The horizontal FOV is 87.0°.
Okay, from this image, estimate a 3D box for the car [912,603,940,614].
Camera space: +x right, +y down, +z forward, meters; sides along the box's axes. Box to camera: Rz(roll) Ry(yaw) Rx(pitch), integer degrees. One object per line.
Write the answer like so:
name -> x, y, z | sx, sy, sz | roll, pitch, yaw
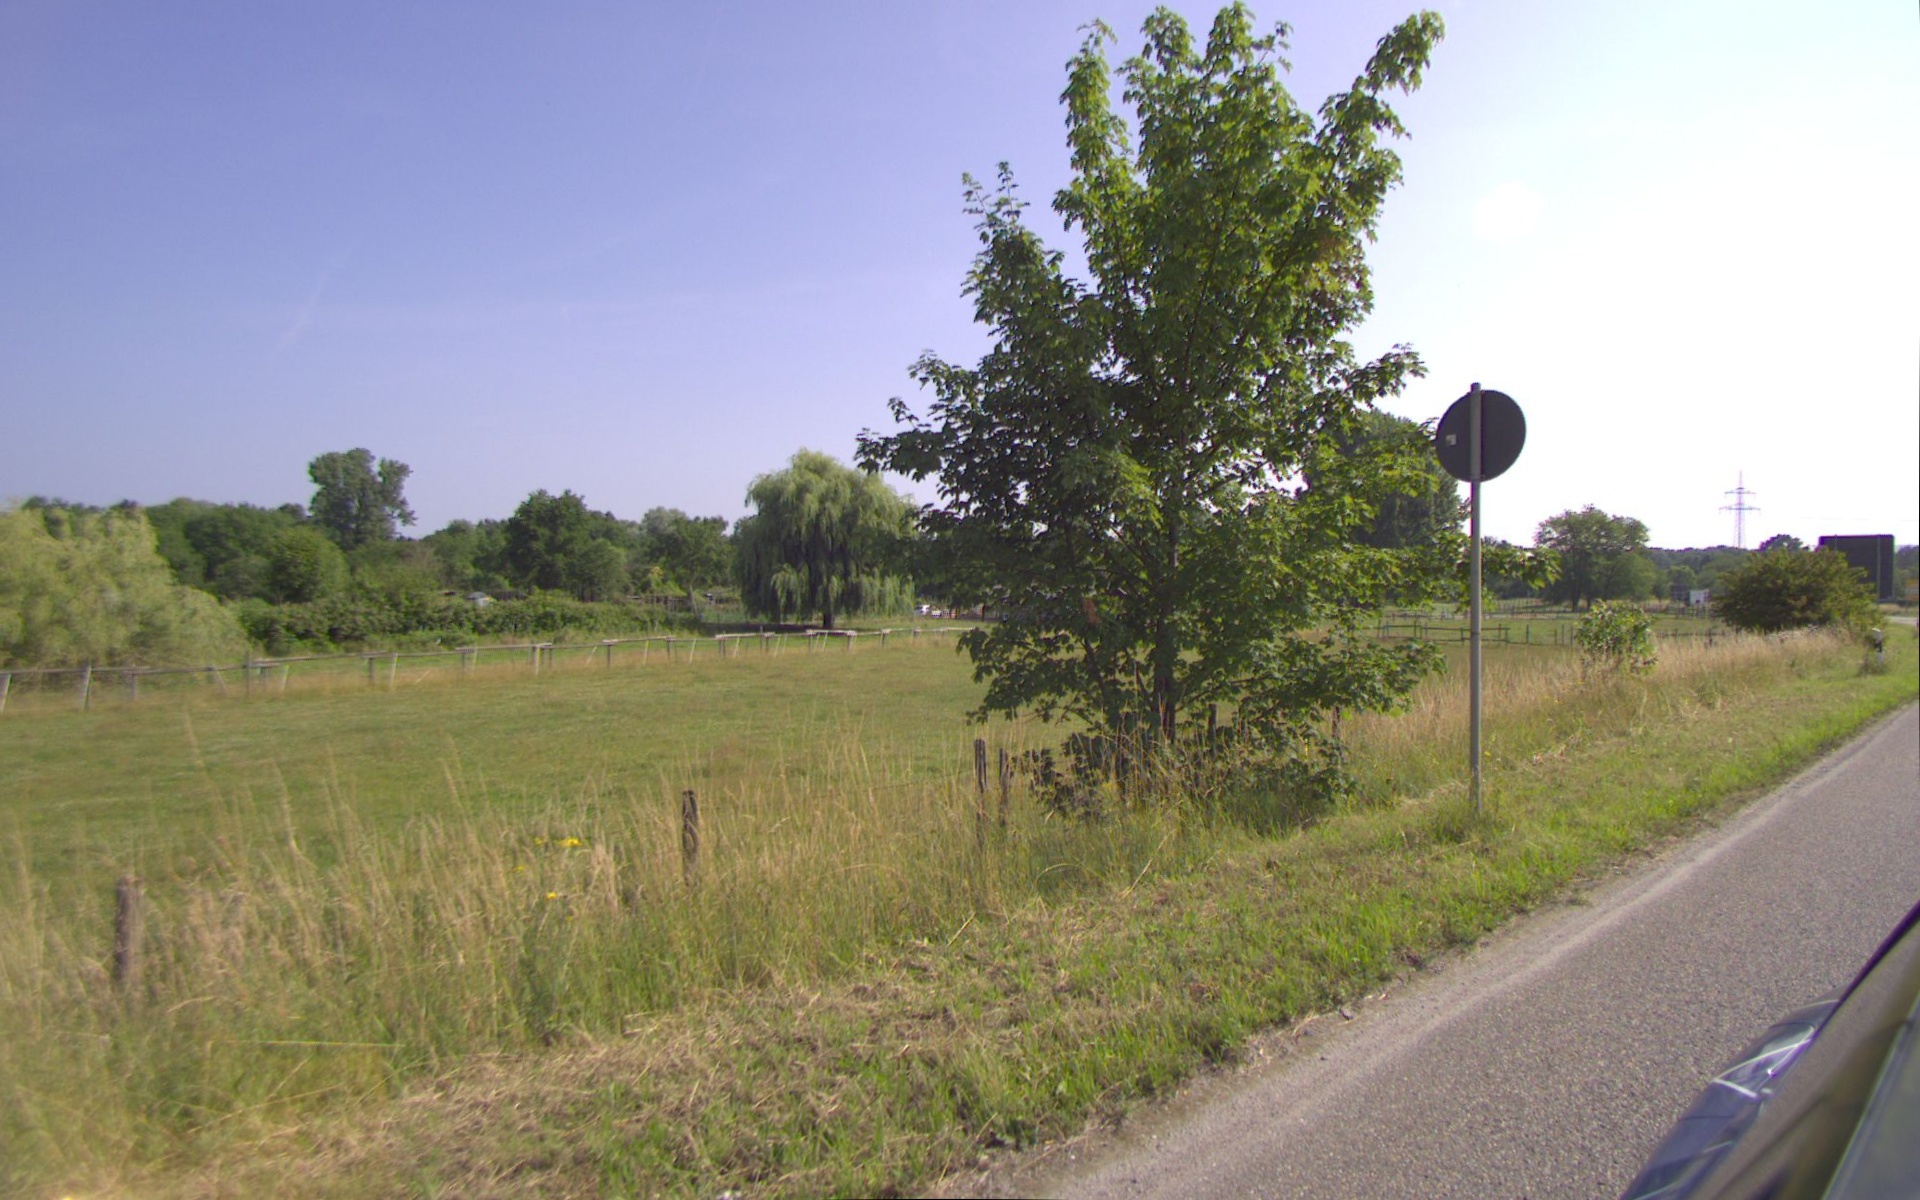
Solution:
car -> -3.263, 0.831, 97.280 | 1.219, 1.018, 3.016 | -1, 0, 33
